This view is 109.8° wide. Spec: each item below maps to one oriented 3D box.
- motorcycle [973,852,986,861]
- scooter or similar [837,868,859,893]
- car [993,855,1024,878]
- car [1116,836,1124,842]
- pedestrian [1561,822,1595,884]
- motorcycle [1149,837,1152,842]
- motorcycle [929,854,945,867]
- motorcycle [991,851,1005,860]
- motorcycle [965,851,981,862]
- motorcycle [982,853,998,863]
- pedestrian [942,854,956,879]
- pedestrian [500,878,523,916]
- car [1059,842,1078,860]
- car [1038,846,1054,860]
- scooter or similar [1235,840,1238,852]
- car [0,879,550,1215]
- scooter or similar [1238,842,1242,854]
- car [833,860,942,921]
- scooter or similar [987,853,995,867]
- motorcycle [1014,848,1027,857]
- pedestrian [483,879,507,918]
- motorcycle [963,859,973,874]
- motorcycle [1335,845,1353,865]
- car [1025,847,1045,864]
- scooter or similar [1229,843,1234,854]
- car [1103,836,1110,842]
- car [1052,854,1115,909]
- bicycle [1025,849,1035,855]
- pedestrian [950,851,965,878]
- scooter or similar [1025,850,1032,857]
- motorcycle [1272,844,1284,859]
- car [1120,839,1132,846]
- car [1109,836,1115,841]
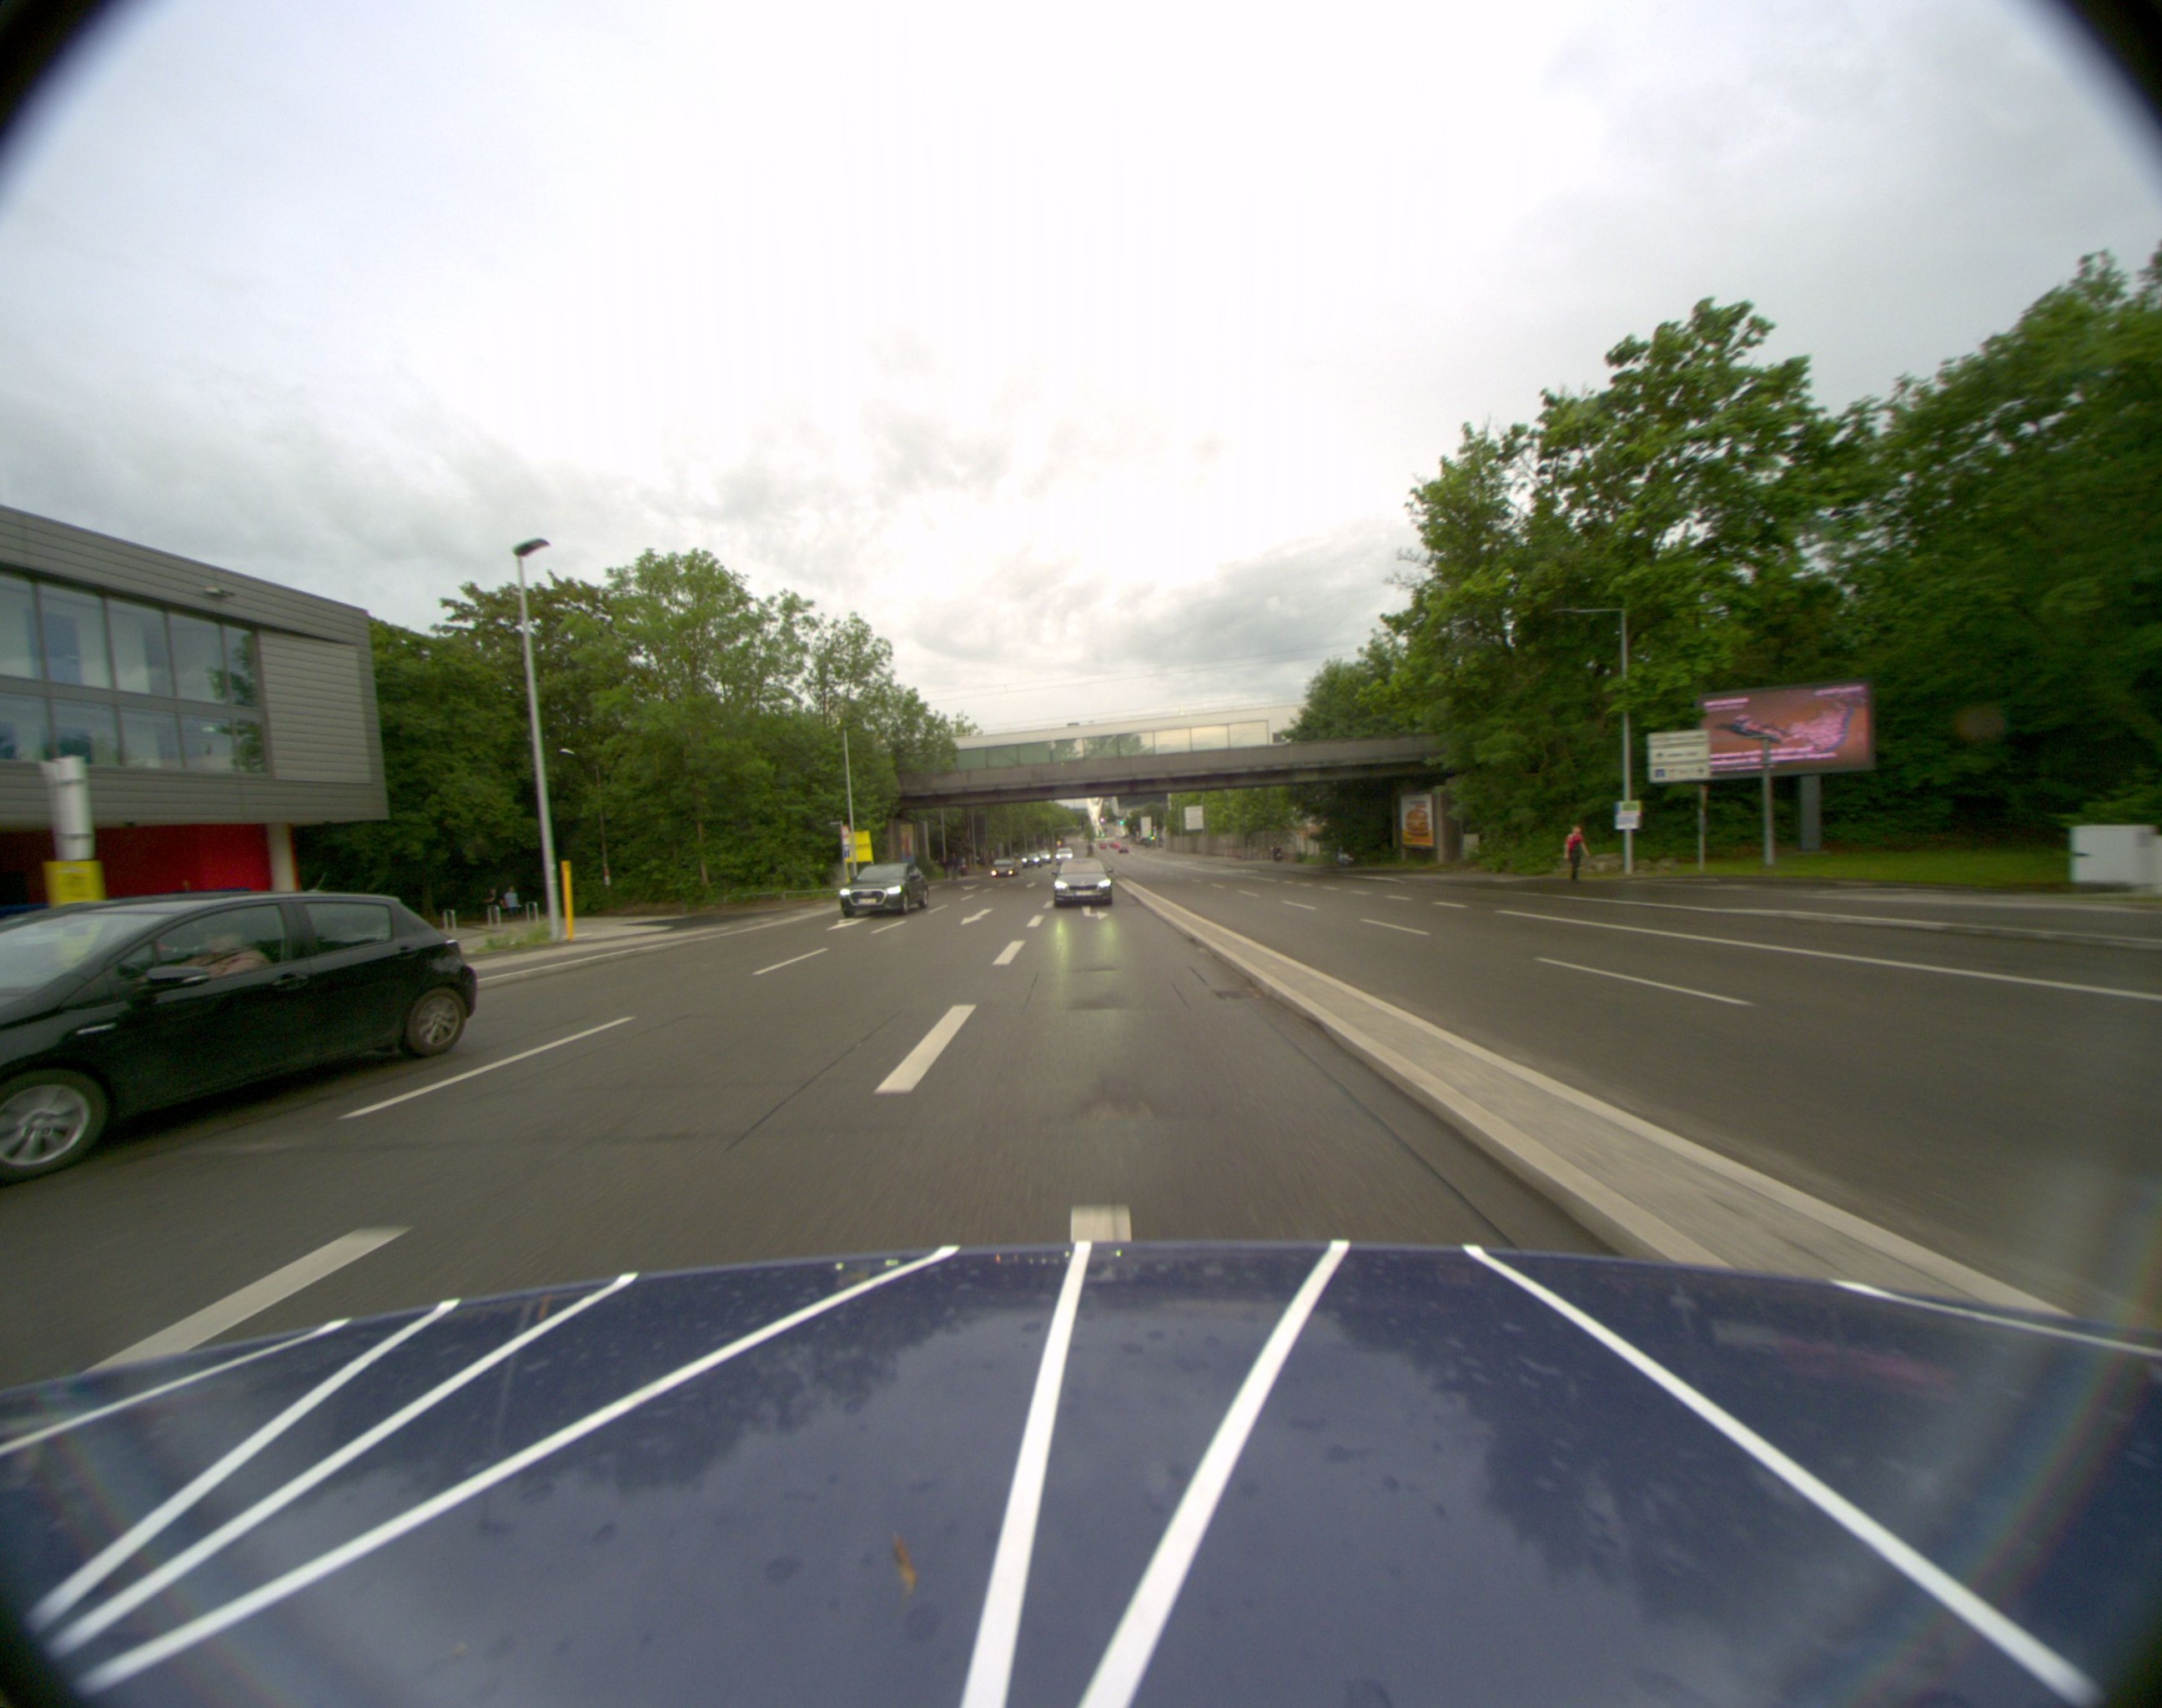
[{"bbox_3d":[-14.033,0.341,105.173,1.641,1.139,0.560,-4,2,12],"label":"motorcycle"},{"bbox_3d":[-11.277,1.288,36.732,0.256,1.123,1.281,-3,1,18],"label":"scooter or similar"},{"bbox_3d":[-5.500,0.915,58.245,1.749,1.422,4.515,-4,2,1],"label":"car"},{"bbox_3d":[10.488,-4.019,204.776,1.720,1.429,3.770,-1,2,0],"label":"car"},{"bbox_3d":[15.010,-0.040,22.955,0.520,1.805,0.800,-3,1,11],"label":"pedestrian"},{"bbox_3d":[17.432,-3.568,191.687,0.569,1.156,2.038,-2,2,0],"label":"motorcycle"},{"bbox_3d":[-15.022,0.693,79.292,0.348,1.272,2.074,-2,1,29],"label":"motorcycle"},{"bbox_3d":[-10.910,0.195,100.011,1.656,1.144,0.493,-5,2,9],"label":"motorcycle"},{"bbox_3d":[-14.342,0.316,100.864,1.933,1.357,0.506,-5,2,-4],"label":"motorcycle"},{"bbox_3d":[-10.798,0.478,90.026,1.855,1.184,0.521,-3,1,-14],"label":"motorcycle"},{"bbox_3d":[-8.709,0.800,49.983,0.651,1.587,0.579,-2,2,13],"label":"pedestrian"},{"bbox_3d":[-27.855,2.106,37.156,0.585,1.805,0.602,-3,1,29],"label":"pedestrian"},{"bbox_3d":[-1.519,-0.430,91.139,2.035,1.920,4.331,-3,2,1],"label":"car"},{"bbox_3d":[-4.539,-0.199,99.396,1.820,1.571,4.331,-3,2,1],"label":"car"},{"bbox_3d":[16.457,-0.833,80.358,0.312,1.211,1.309,-2,1,13],"label":"scooter or similar"},{"bbox_3d":[-6.409,1.120,5.456,1.749,1.462,4.639,-4,2,1],"label":"car"},{"bbox_3d":[16.313,-0.647,77.965,0.312,1.211,1.308,-2,1,6],"label":"scooter or similar"},{"bbox_3d":[-5.865,1.023,23.844,1.820,1.536,5.608,-3,0,1],"label":"car"},{"bbox_3d":[-9.078,0.589,76.833,0.312,1.291,1.308,-2,2,13],"label":"scooter or similar"},{"bbox_3d":[-9.497,-0.212,119.612,2.012,1.266,0.442,-2,2,13],"label":"motorcycle"},{"bbox_3d":[-28.138,2.153,36.461,0.585,1.805,0.626,-3,1,29],"label":"pedestrian"},{"bbox_3d":[-8.979,0.988,60.236,0.471,1.130,1.818,-2,1,1],"label":"motorcycle"},{"bbox_3d":[15.668,0.051,45.250,0.469,1.152,1.932,-2,1,4],"label":"motorcycle"},{"bbox_3d":[-5.003,0.170,82.912,1.825,1.581,4.331,-3,2,1],"label":"car"},{"bbox_3d":[16.426,-0.630,82.887,0.312,1.211,1.307,-2,1,1],"label":"scooter or similar"},{"bbox_3d":[6.835,-4.067,203.599,1.589,1.596,3.854,-1,2,1],"label":"car"},{"bbox_3d":[0.115,0.820,24.353,1.820,1.536,4.063,-2,0,1],"label":"car"},{"bbox_3d":[-8.787,-0.356,131.404,1.555,0.999,0.393,-2,2,1],"label":"bicycle"},{"bbox_3d":[-8.072,0.700,49.828,0.612,1.711,0.892,-2,2,11],"label":"pedestrian"},{"bbox_3d":[-8.728,-0.120,126.438,1.216,1.085,0.312,-2,2,-3],"label":"scooter or similar"},{"bbox_3d":[16.040,-0.199,61.952,0.470,1.198,1.996,-2,1,1],"label":"motorcycle"},{"bbox_3d":[8.914,-2.336,150.697,2.069,1.354,4.755,-2,1,0],"label":"car"},{"bbox_3d":[9.006,-4.454,221.213,1.777,1.396,4.613,-2,2,2],"label":"car"}]
